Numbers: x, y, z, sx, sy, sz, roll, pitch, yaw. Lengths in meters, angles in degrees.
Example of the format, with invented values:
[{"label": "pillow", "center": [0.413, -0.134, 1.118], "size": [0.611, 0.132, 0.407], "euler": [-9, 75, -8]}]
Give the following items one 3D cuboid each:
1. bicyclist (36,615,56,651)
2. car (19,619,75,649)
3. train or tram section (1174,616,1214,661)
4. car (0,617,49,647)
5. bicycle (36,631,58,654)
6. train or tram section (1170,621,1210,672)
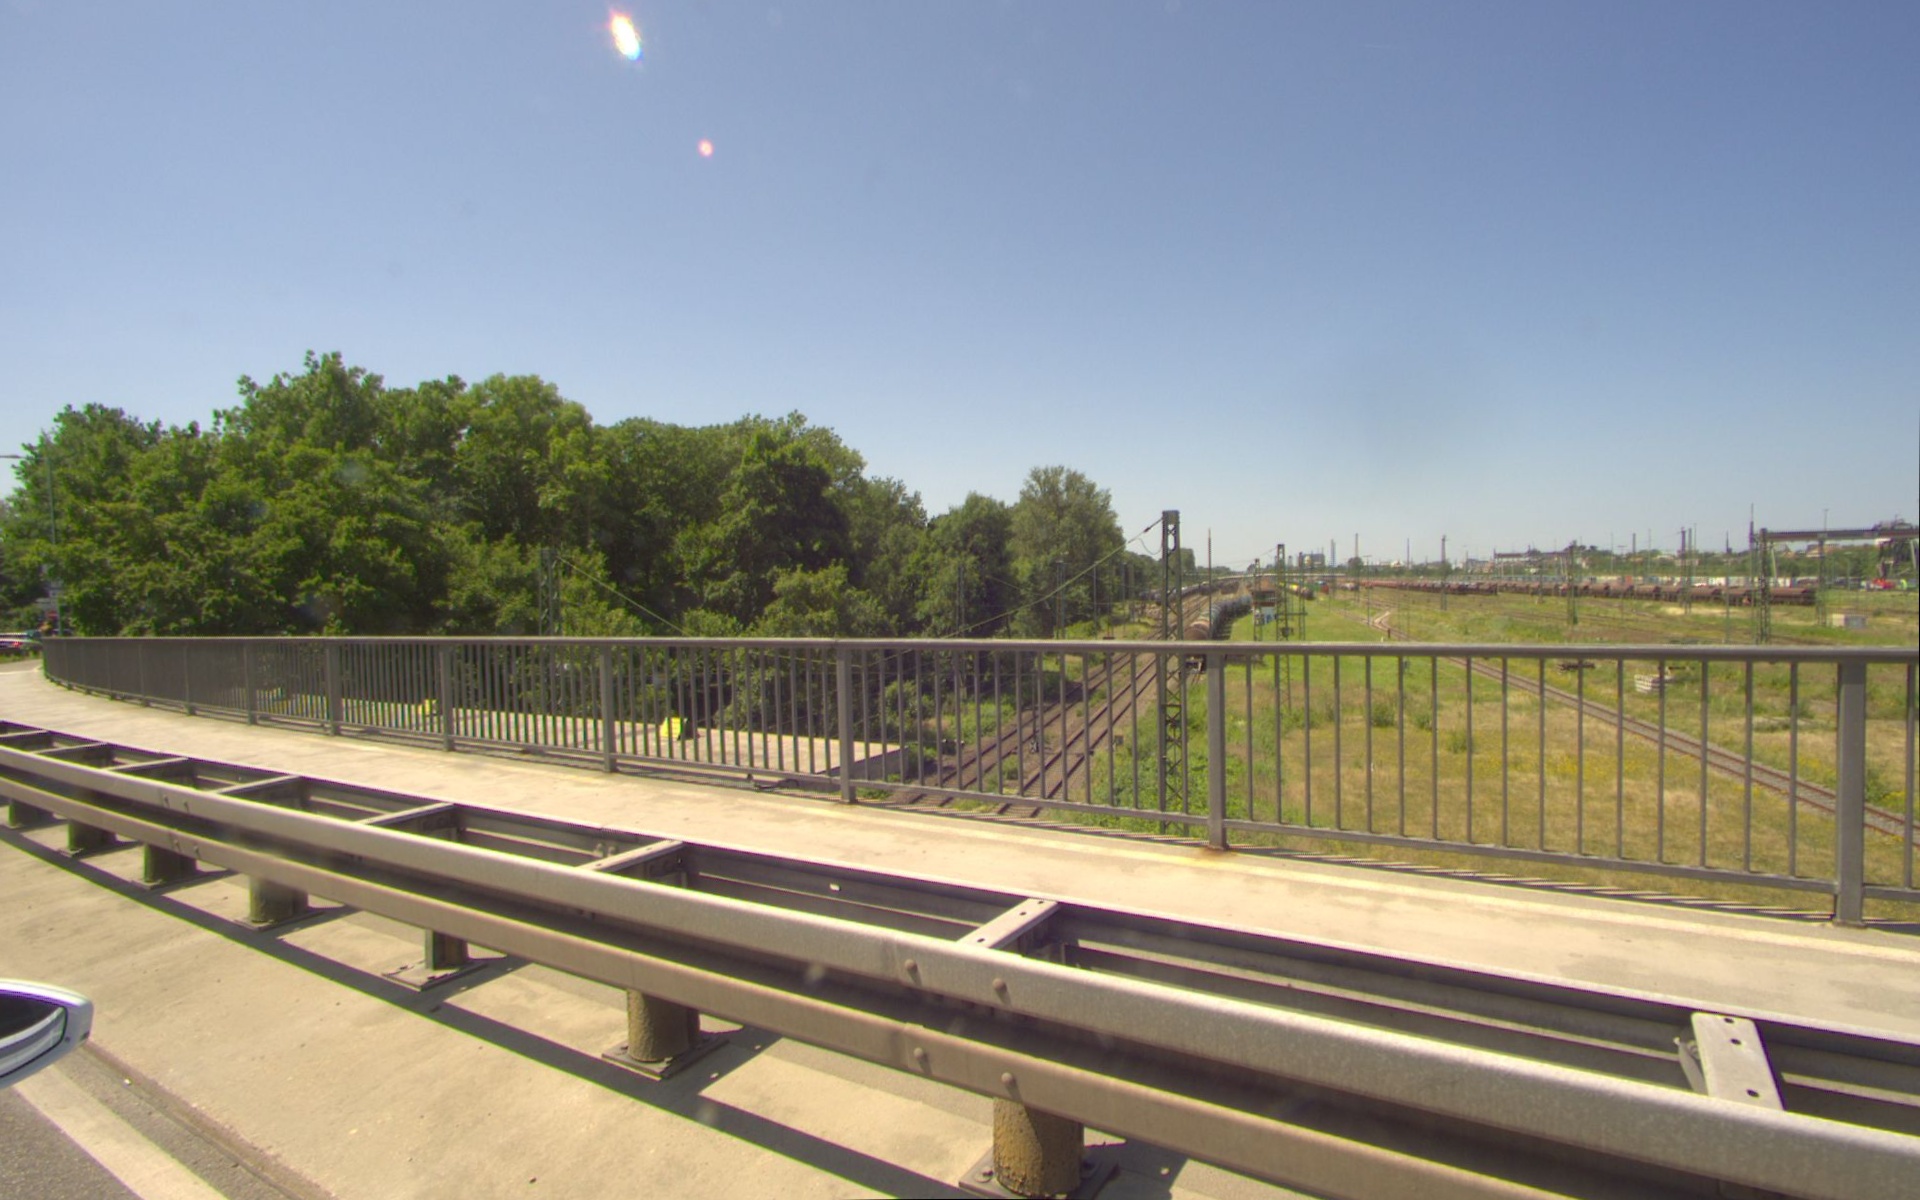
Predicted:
[{"label": "bicyclist", "center": [-43.694, 1.570, 47.876], "size": [0.721, 1.706, 0.574], "euler": [0, 2, 42]}, {"label": "car", "center": [-56.335, 2.097, 61.841], "size": [1.666, 1.783, 3.982], "euler": [0, -2, -29]}, {"label": "train or tram section", "center": [28.199, 4.465, 120.158], "size": [3.783, 4.366, 13.605], "euler": [-2, 1, 17]}, {"label": "car", "center": [-52.977, 1.830, 56.163], "size": [1.972, 1.594, 3.981], "euler": [2, -4, -31]}, {"label": "bicycle", "center": [-43.686, 2.039, 47.902], "size": [1.468, 1.049, 0.578], "euler": [-1, 2, 42]}, {"label": "train or tram section", "center": [24.646, 4.854, 106.977], "size": [3.781, 4.366, 13.612], "euler": [-2, 1, 14]}]
